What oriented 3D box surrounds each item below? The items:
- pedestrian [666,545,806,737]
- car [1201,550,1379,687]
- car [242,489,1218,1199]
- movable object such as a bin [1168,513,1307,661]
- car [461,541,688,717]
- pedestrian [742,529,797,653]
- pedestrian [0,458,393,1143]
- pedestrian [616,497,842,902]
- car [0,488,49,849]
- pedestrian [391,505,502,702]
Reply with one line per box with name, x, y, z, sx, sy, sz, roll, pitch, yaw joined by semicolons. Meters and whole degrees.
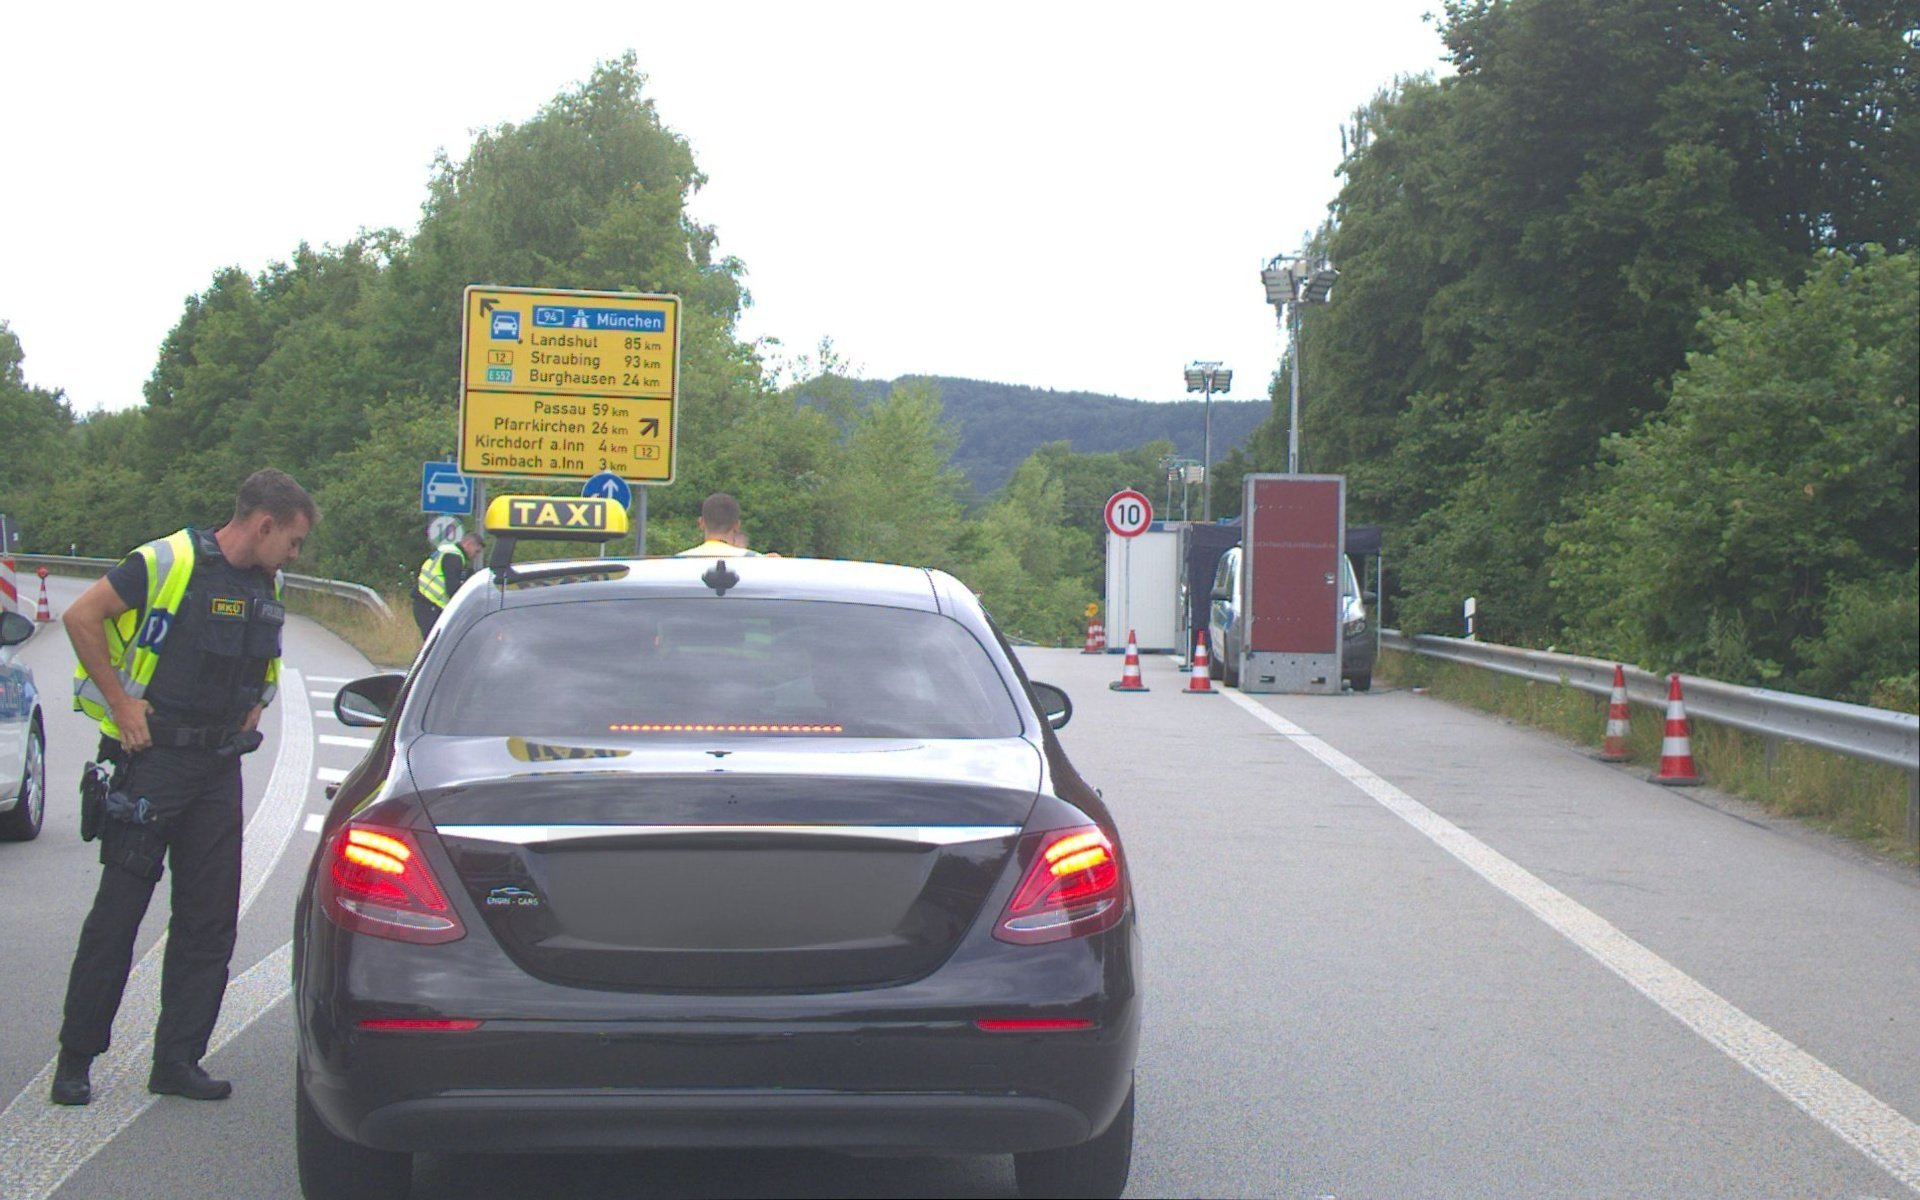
pedestrian;-2.013;0.358;30.893;0.908;1.692;0.914;1;0;-32
car;4.409;0.197;46.652;1.916;1.672;5.083;2;1;1
car;-0.638;0.557;8.776;1.855;1.589;4.376;1;1;-5
movable object such as a bin;4.440;-0.231;55.491;1.993;2.272;4.168;1;1;2
car;-3.474;0.212;31.611;1.855;1.493;4.257;1;1;-4
pedestrian;-3.044;-0.150;54.969;0.664;1.954;0.759;0;1;15
pedestrian;-2.072;0.493;9.131;0.817;1.712;0.761;1;1;36
pedestrian;-1.065;0.440;15.957;0.813;1.824;0.809;0;1;16
car;-5.483;0.333;15.701;1.868;1.737;4.009;1;1;-5
pedestrian;-4.683;0.026;31.392;0.910;1.763;0.912;1;1;-4
